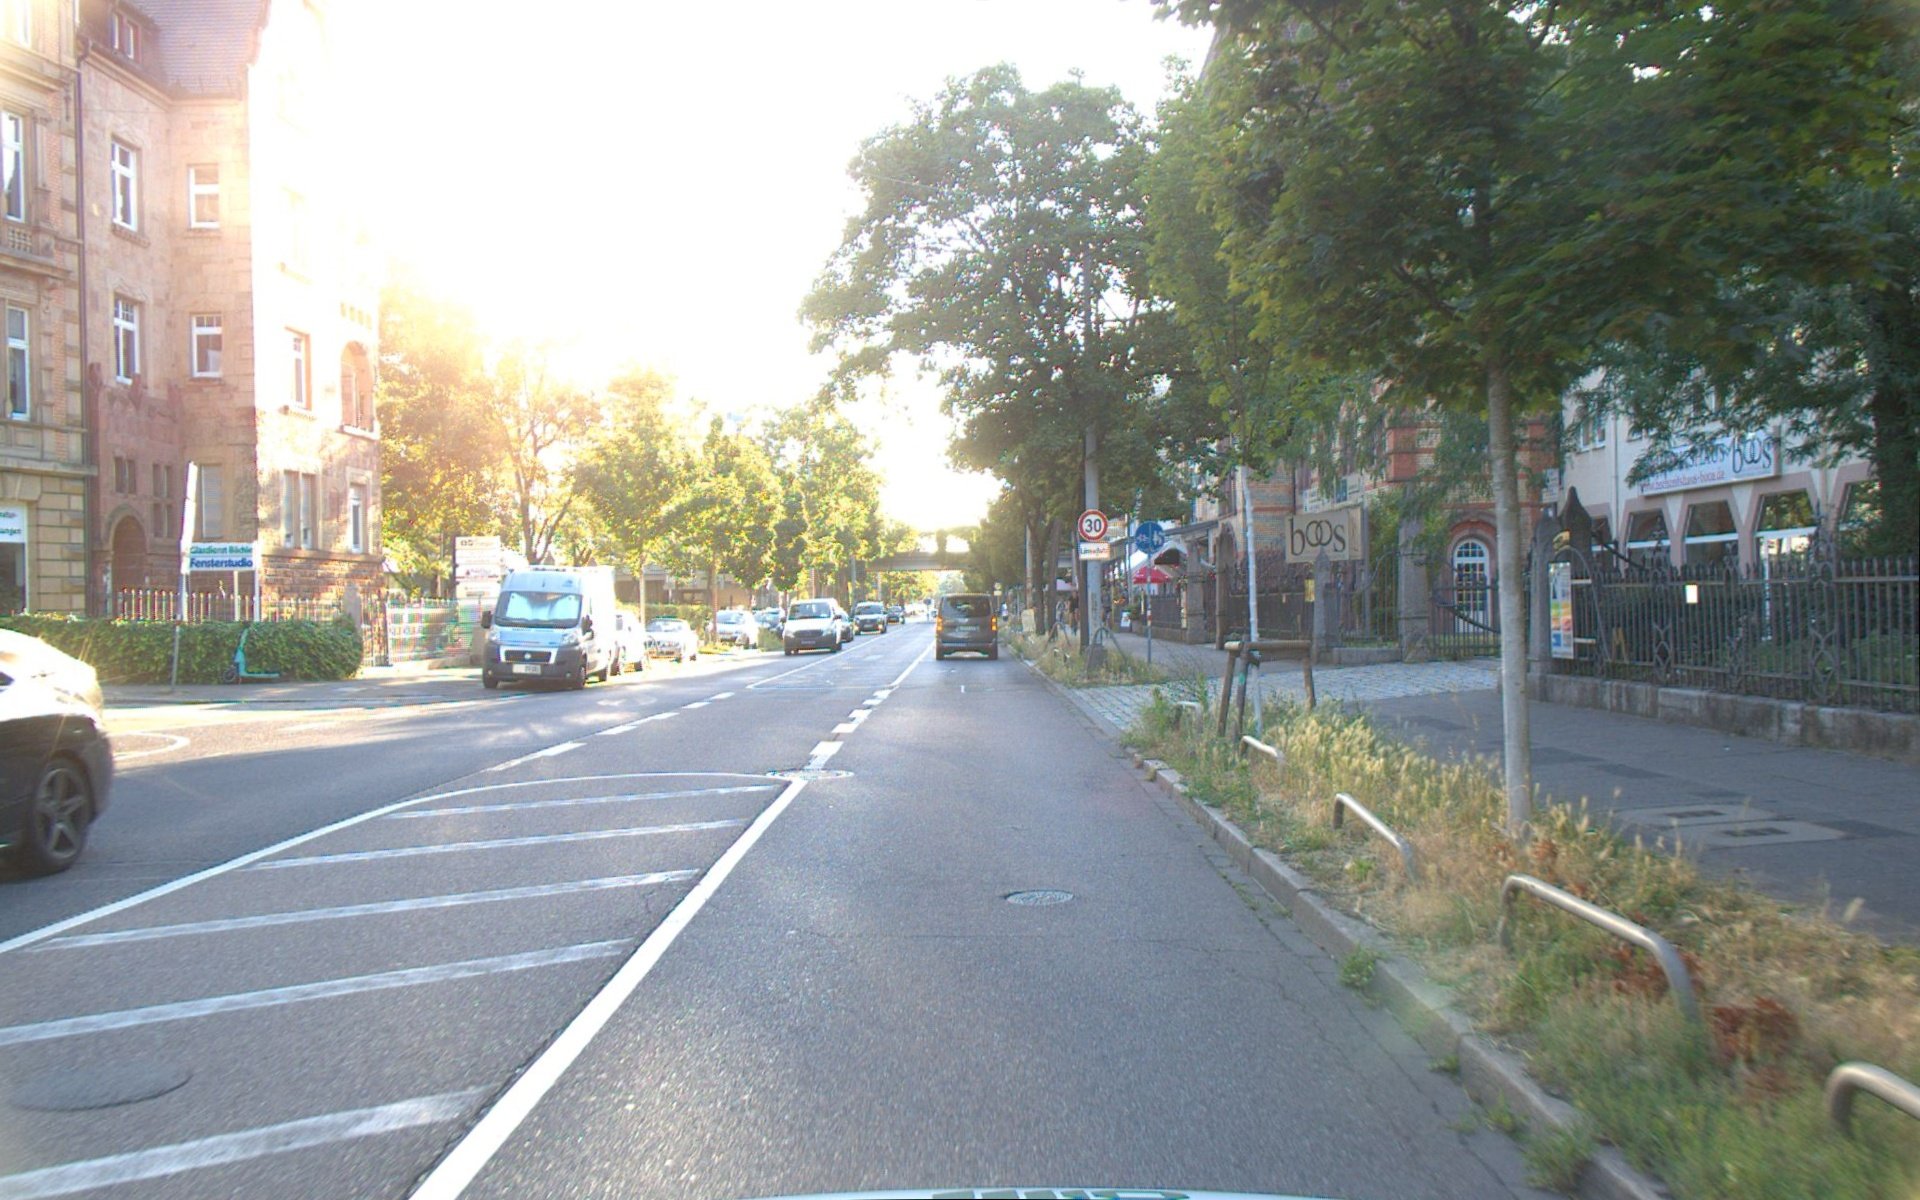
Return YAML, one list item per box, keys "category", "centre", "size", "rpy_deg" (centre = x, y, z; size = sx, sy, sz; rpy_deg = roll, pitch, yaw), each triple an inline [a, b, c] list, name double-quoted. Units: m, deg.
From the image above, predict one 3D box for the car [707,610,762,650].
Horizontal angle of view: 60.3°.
- category: "car"
  centre: [-8.849, 1.152, 65.069]
  size: [1.662, 1.477, 3.999]
  rpy_deg: [0, 0, -1]

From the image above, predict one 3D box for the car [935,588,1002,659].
- category: "car"
  centre: [0.272, 0.659, 49.451]
  size: [1.848, 1.958, 3.840]
  rpy_deg: [-2, 0, 1]

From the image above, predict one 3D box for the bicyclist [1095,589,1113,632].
- category: "bicyclist"
  centre: [5.318, 0.388, 60.970]
  size: [0.583, 1.559, 0.893]
  rpy_deg: [0, 0, 0]

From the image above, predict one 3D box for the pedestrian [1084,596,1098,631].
- category: "pedestrian"
  centre: [6.319, 0.647, 79.719]
  size: [0.631, 1.661, 0.656]
  rpy_deg: [0, 0, 0]

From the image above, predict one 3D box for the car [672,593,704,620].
- category: "car"
  centre: [-24.465, 0.567, 148.867]
  size: [1.952, 2.348, 5.245]
  rpy_deg: [0, 0, 0]

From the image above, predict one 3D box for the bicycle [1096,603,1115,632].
- category: "bicycle"
  centre: [5.334, 0.638, 60.840]
  size: [0.507, 1.058, 2.089]
  rpy_deg: [0, 0, 0]

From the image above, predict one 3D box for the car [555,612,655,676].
- category: "car"
  centre: [-9.168, 1.100, 43.016]
  size: [1.710, 1.561, 4.301]
  rpy_deg: [0, 0, -1]

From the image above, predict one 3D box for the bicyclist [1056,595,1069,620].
- category: "bicyclist"
  centre: [5.115, 0.358, 82.883]
  size: [0.573, 1.258, 1.112]
  rpy_deg: [0, 0, 0]

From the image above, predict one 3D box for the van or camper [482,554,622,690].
- category: "van or camper"
  centre: [-8.789, 0.441, 36.134]
  size: [1.954, 2.715, 6.033]
  rpy_deg: [0, 0, -4]

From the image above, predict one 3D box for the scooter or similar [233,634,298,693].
- category: "scooter or similar"
  centre: [-13.631, 1.245, 32.469]
  size: [0.283, 1.075, 1.111]
  rpy_deg: [-3, 0, 42]

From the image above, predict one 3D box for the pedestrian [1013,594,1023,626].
- category: "pedestrian"
  centre: [3.483, 0.575, 99.149]
  size: [0.496, 1.922, 0.543]
  rpy_deg: [0, 0, -15]

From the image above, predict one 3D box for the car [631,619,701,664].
- category: "car"
  centre: [-8.883, 1.244, 50.175]
  size: [1.504, 1.270, 3.613]
  rpy_deg: [0, 0, -1]

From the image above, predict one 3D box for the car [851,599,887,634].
- category: "car"
  centre: [-5.255, 0.924, 95.491]
  size: [1.796, 1.885, 4.473]
  rpy_deg: [-3, 0, -1]

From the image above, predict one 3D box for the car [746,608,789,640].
- category: "car"
  centre: [-9.016, 1.111, 77.741]
  size: [1.604, 1.410, 3.999]
  rpy_deg: [0, 0, -1]

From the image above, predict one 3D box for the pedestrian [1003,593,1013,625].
- category: "pedestrian"
  centre: [2.911, 0.538, 100.031]
  size: [0.496, 1.922, 0.543]
  rpy_deg: [0, 0, -15]

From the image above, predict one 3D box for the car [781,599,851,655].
- category: "car"
  centre: [-5.197, 0.942, 60.329]
  size: [1.953, 1.863, 5.170]
  rpy_deg: [-3, 0, 1]

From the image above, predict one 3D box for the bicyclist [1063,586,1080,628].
- category: "bicyclist"
  centre: [4.180, 0.268, 62.033]
  size: [0.583, 1.559, 0.893]
  rpy_deg: [0, 0, 0]

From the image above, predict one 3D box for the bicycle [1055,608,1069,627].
- category: "bicycle"
  centre: [5.115, 0.874, 82.819]
  size: [0.567, 0.913, 1.987]
  rpy_deg: [0, 0, 0]

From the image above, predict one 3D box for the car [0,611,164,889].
- category: "car"
  centre: [-5.861, 0.821, 8.034]
  size: [1.730, 1.426, 4.545]
  rpy_deg: [-2, 0, 0]

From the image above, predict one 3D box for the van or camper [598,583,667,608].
- category: "van or camper"
  centre: [-33.015, -0.446, 166.878]
  size: [6.430, 2.566, 2.448]
  rpy_deg: [0, 0, -2]

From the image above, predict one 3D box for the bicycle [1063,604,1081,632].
- category: "bicycle"
  centre: [4.190, 0.666, 62.017]
  size: [0.533, 1.058, 2.089]
  rpy_deg: [0, 0, 0]

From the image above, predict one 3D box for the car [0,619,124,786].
- category: "car"
  centre: [-9.844, 0.997, 15.094]
  size: [1.953, 1.509, 4.828]
  rpy_deg: [-2, 0, 0]

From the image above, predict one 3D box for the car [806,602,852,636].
- category: "car"
  centre: [-6.069, 0.855, 77.087]
  size: [1.723, 1.410, 4.304]
  rpy_deg: [-3, 0, 0]

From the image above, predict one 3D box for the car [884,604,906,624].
- category: "car"
  centre: [-5.441, 1.136, 138.838]
  size: [1.645, 1.556, 4.000]
  rpy_deg: [-4, 0, 0]
